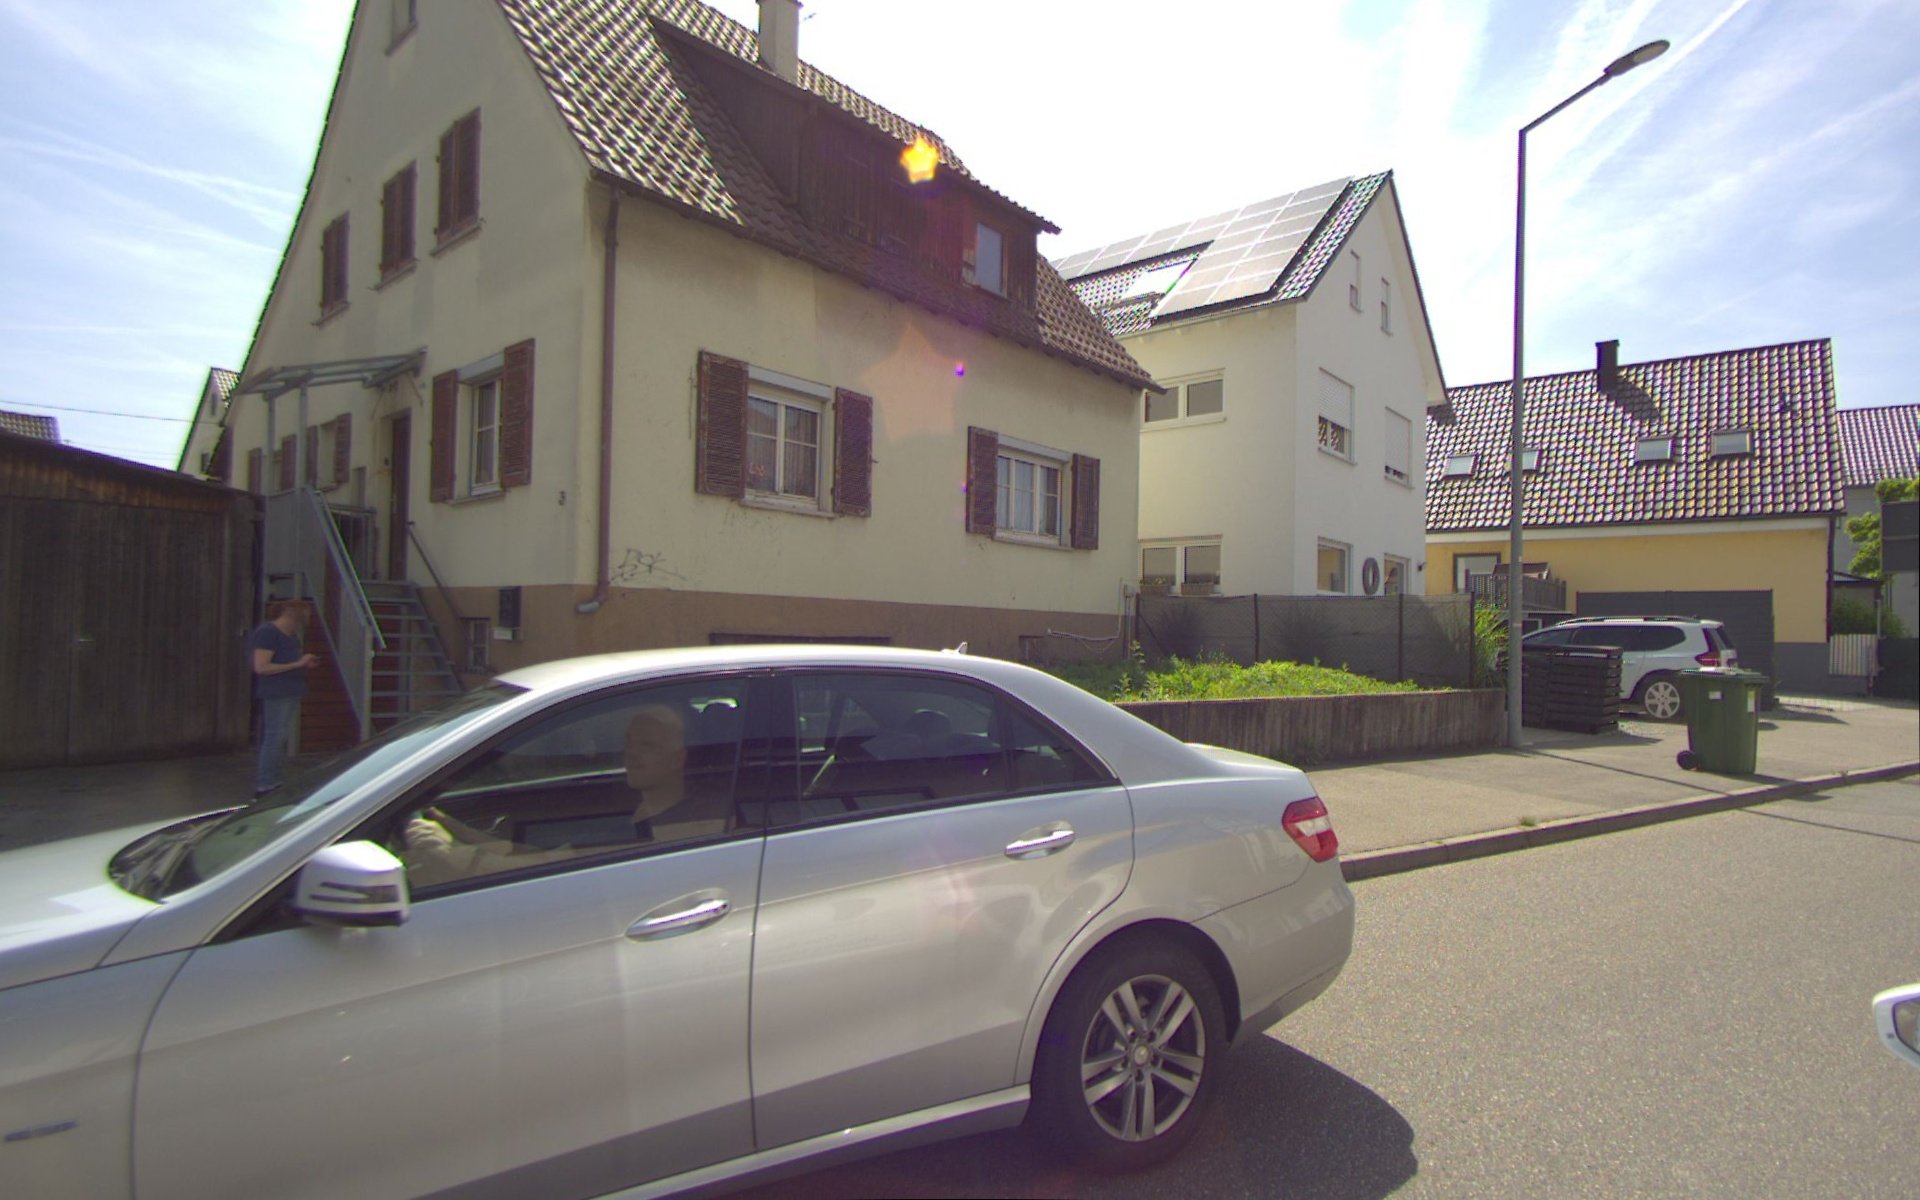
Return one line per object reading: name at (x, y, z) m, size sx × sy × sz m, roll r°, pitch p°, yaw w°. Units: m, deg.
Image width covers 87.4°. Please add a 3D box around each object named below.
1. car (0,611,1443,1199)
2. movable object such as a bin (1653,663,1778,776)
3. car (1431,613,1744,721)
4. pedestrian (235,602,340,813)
car at (-0.814, 0.841, 3.106) m, size 4.404 × 1.505 × 1.948 m, roll 1°, pitch -3°, yaw -28°
movable object such as a bin at (8.082, 1.244, 10.760) m, size 0.808 × 1.091 × 0.822 m, roll 1°, pitch 0°, yaw -30°
car at (10.956, 1.079, 17.754) m, size 1.986 × 1.644 × 4.360 m, roll 2°, pitch -2°, yaw -43°
pedestrian at (-5.437, 0.821, 8.113) m, size 0.622 × 1.595 × 0.770 m, roll 1°, pitch -1°, yaw -39°
